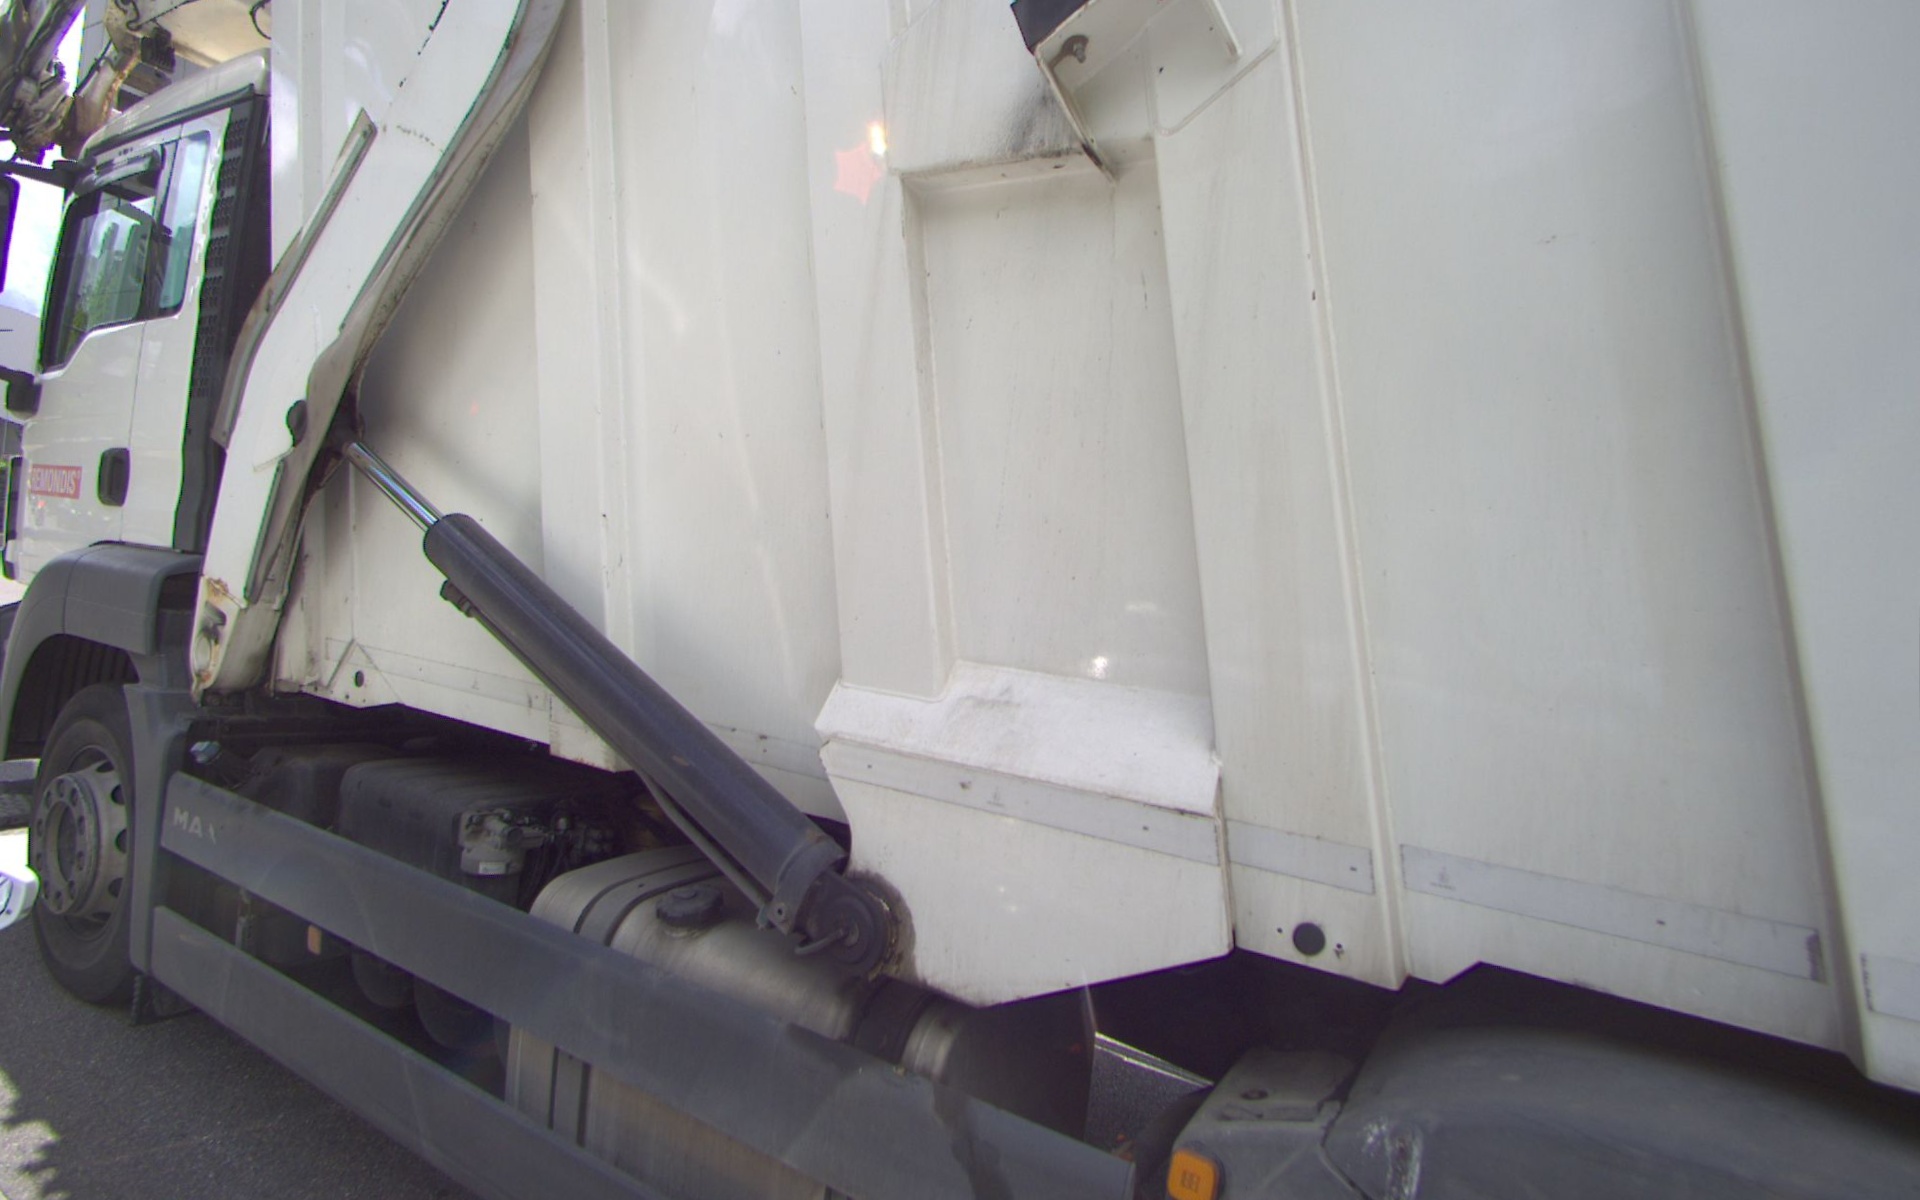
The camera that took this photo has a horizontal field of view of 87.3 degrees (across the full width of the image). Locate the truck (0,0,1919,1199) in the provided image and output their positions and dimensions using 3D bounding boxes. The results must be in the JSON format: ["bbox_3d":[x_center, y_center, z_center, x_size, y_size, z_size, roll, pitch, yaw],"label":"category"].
[{"bbox_3d":[1.098,-0.341,2.206,10.003,3.958,2.494,6,-1,31],"label":"truck"}]

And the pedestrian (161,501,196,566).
[{"bbox_3d":[-22.893,-1.956,29.473,0.706,1.818,0.636,4,4,-40],"label":"pedestrian"}]

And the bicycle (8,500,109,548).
[{"bbox_3d":[-27.989,-2.338,31.257,2.197,1.099,0.474,8,-1,-23],"label":"bicycle"}]

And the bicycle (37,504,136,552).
[{"bbox_3d":[-26.997,-2.212,31.112,2.166,1.099,0.474,8,-1,-23],"label":"bicycle"}]

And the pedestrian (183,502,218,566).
[{"bbox_3d":[-23.006,-2.004,30.482,0.706,1.818,0.685,4,4,-42],"label":"pedestrian"}]

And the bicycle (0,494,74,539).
[{"bbox_3d":[-29.303,-2.644,31.492,2.197,1.099,0.474,8,-1,-23],"label":"bicycle"}]
